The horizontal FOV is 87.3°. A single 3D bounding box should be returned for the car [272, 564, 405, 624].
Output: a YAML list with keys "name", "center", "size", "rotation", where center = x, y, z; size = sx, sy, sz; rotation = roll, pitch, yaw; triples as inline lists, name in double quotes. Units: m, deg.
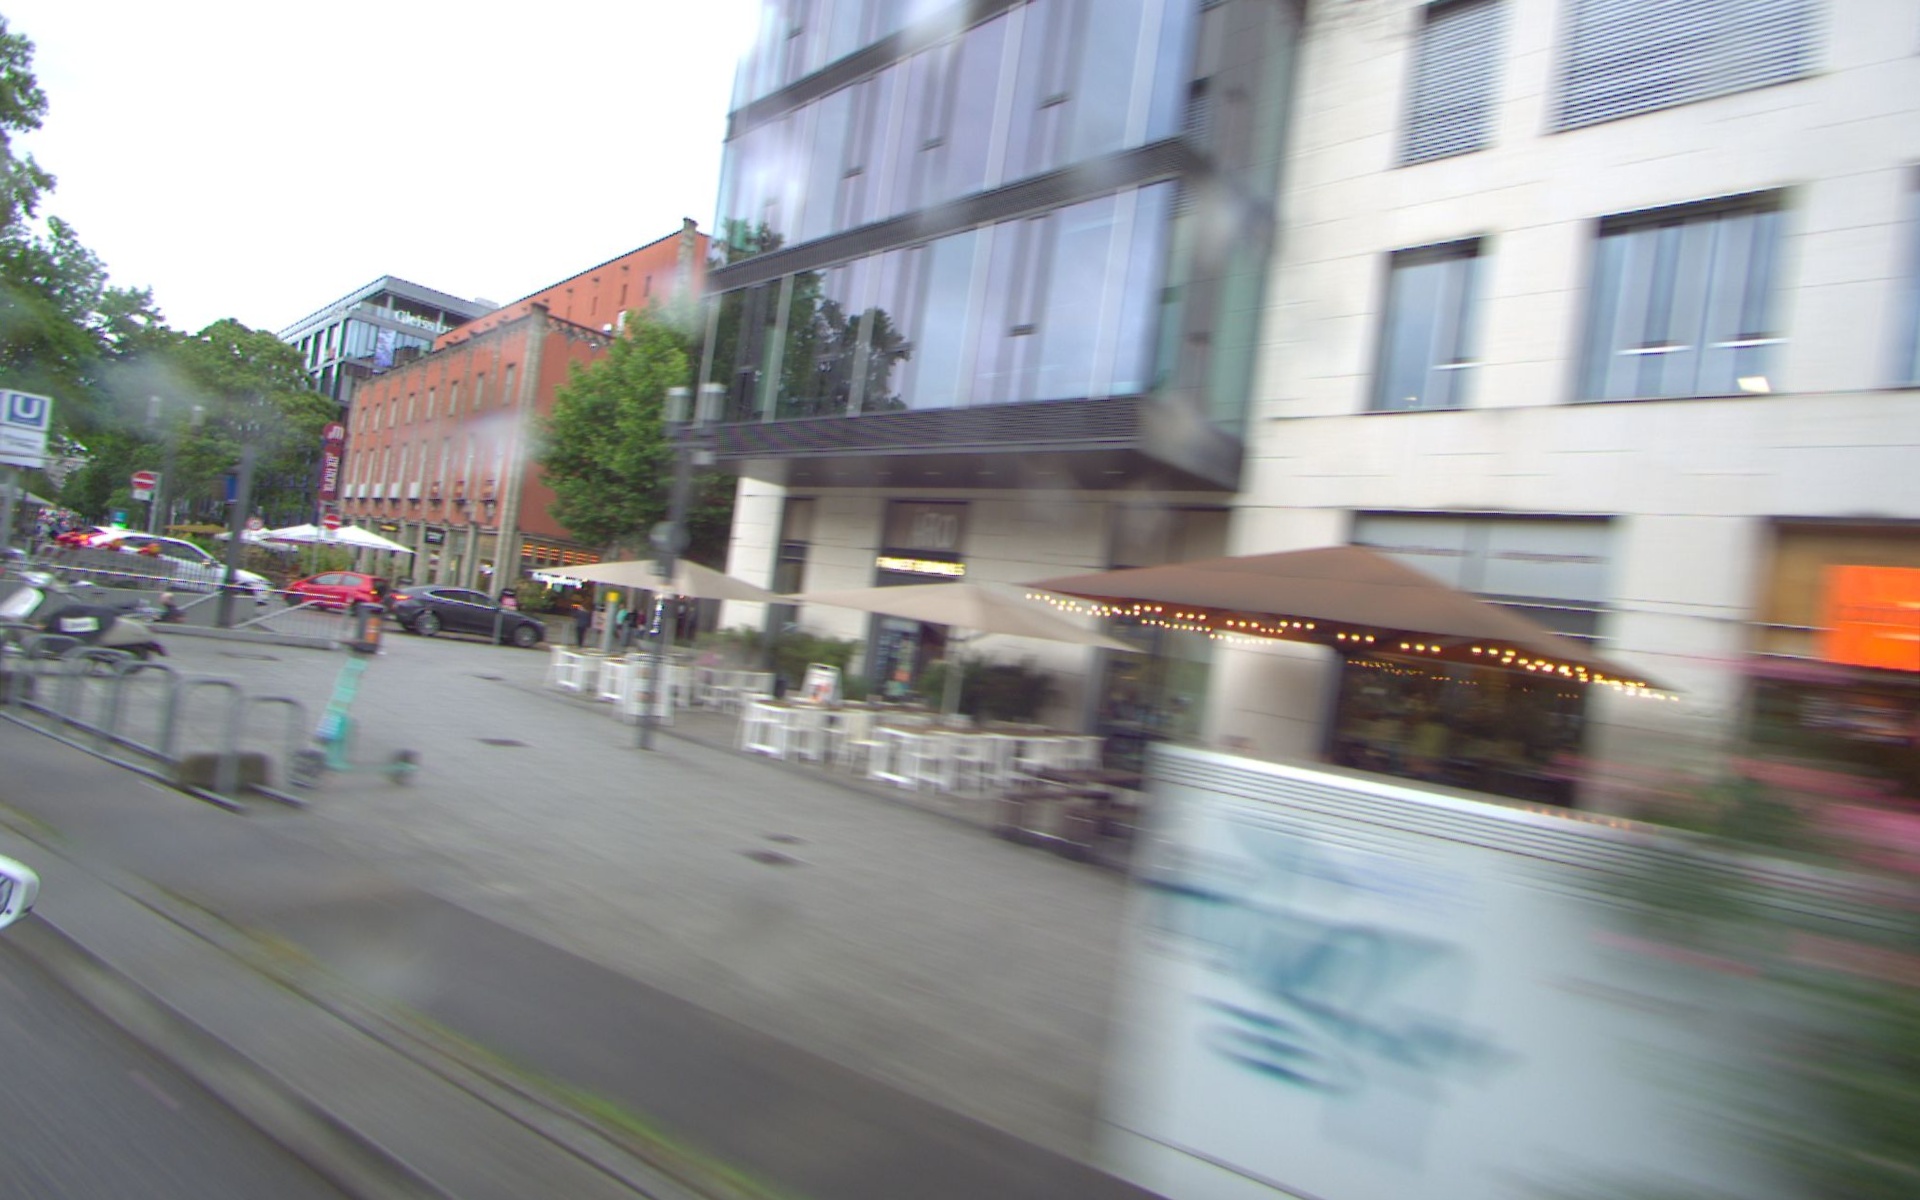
- name: "car"
  center: [-21.607, -0.192, 35.053]
  size: [3.463, 1.431, 1.617]
  rotation: [9, -3, 2]

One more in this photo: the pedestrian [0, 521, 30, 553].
- name: "pedestrian"
  center: [-41.203, -2.753, 43.848]
  size: [0.599, 1.263, 0.631]
  rotation: [6, -4, 27]

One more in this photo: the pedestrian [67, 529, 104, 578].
- name: "pedestrian"
  center: [-34.579, -1.837, 39.784]
  size: [0.860, 1.799, 0.693]
  rotation: [7, -2, 34]

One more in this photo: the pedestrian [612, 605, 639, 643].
- name: "pedestrian"
  center: [-15.115, 1.091, 45.441]
  size: [0.601, 1.576, 0.752]
  rotation: [6, -3, 38]

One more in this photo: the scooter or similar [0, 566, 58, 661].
- name: "scooter or similar"
  center: [-12.529, 0.141, 12.956]
  size: [0.522, 1.171, 1.116]
  rotation: [7, -2, 28]

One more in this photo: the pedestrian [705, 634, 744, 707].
- name: "pedestrian"
  center: [-4.789, 1.428, 20.427]
  size: [0.472, 1.420, 0.433]
  rotation: [6, -1, 45]

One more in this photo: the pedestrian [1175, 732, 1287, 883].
- name: "pedestrian"
  center: [2.721, 2.066, 10.077]
  size: [0.627, 1.340, 0.817]
  rotation: [6, -4, 42]

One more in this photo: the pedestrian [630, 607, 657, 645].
- name: "pedestrian"
  center: [-14.576, 1.195, 46.315]
  size: [0.601, 1.614, 0.752]
  rotation: [6, -3, 38]

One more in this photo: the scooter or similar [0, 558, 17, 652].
- name: "scooter or similar"
  center: [-13.421, 0.004, 13.360]
  size: [0.358, 1.251, 1.116]
  rotation: [7, -2, 28]

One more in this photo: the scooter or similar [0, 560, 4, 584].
- name: "scooter or similar"
  center: [-13.762, -0.016, 13.535]
  size: [0.358, 1.230, 1.116]
  rotation: [7, -2, 28]

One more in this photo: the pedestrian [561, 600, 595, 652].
- name: "pedestrian"
  center: [-14.496, 1.001, 38.179]
  size: [0.795, 1.828, 0.610]
  rotation: [7, -3, 31]

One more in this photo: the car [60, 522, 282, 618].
- name: "car"
  center: [-20.303, -0.741, 26.035]
  size: [1.837, 1.636, 4.100]
  rotation: [5, -7, 41]

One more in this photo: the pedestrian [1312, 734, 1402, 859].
- name: "pedestrian"
  center: [4.789, 2.359, 12.116]
  size: [0.627, 1.340, 0.817]
  rotation: [6, -4, 42]

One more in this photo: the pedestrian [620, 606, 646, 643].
- name: "pedestrian"
  center: [-15.200, 1.134, 46.736]
  size: [0.601, 1.614, 0.752]
  rotation: [6, -3, 38]

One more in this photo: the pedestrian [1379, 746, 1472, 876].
- name: "pedestrian"
  center: [5.388, 2.428, 11.628]
  size: [0.627, 1.340, 0.817]
  rotation: [6, -4, 42]

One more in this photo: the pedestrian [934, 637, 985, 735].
- name: "pedestrian"
  center: [-0.009, 1.752, 20.497]
  size: [0.577, 1.916, 0.640]
  rotation: [6, -1, 35]

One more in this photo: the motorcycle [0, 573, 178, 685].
- name: "motorcycle"
  center: [-10.793, 0.374, 12.266]
  size: [0.597, 1.171, 1.782]
  rotation: [7, -3, 28]

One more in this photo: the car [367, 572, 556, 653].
- name: "car"
  center: [-15.380, 0.425, 31.226]
  size: [4.727, 1.709, 1.980]
  rotation: [11, -3, -44]

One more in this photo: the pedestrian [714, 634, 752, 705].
- name: "pedestrian"
  center: [-4.742, 1.458, 21.024]
  size: [0.472, 1.420, 0.433]
  rotation: [6, -1, 45]

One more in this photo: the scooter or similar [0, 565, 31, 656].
- name: "scooter or similar"
  center: [-13.011, 0.088, 13.124]
  size: [0.436, 1.171, 1.116]
  rotation: [7, -2, 28]

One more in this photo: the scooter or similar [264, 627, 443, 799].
- name: "scooter or similar"
  center: [-5.059, 0.934, 8.464]
  size: [0.472, 1.286, 1.095]
  rotation: [8, -2, 18]

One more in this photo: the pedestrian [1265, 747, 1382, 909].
- name: "pedestrian"
  center: [3.431, 2.124, 9.475]
  size: [0.627, 1.340, 0.817]
  rotation: [6, -4, 42]
